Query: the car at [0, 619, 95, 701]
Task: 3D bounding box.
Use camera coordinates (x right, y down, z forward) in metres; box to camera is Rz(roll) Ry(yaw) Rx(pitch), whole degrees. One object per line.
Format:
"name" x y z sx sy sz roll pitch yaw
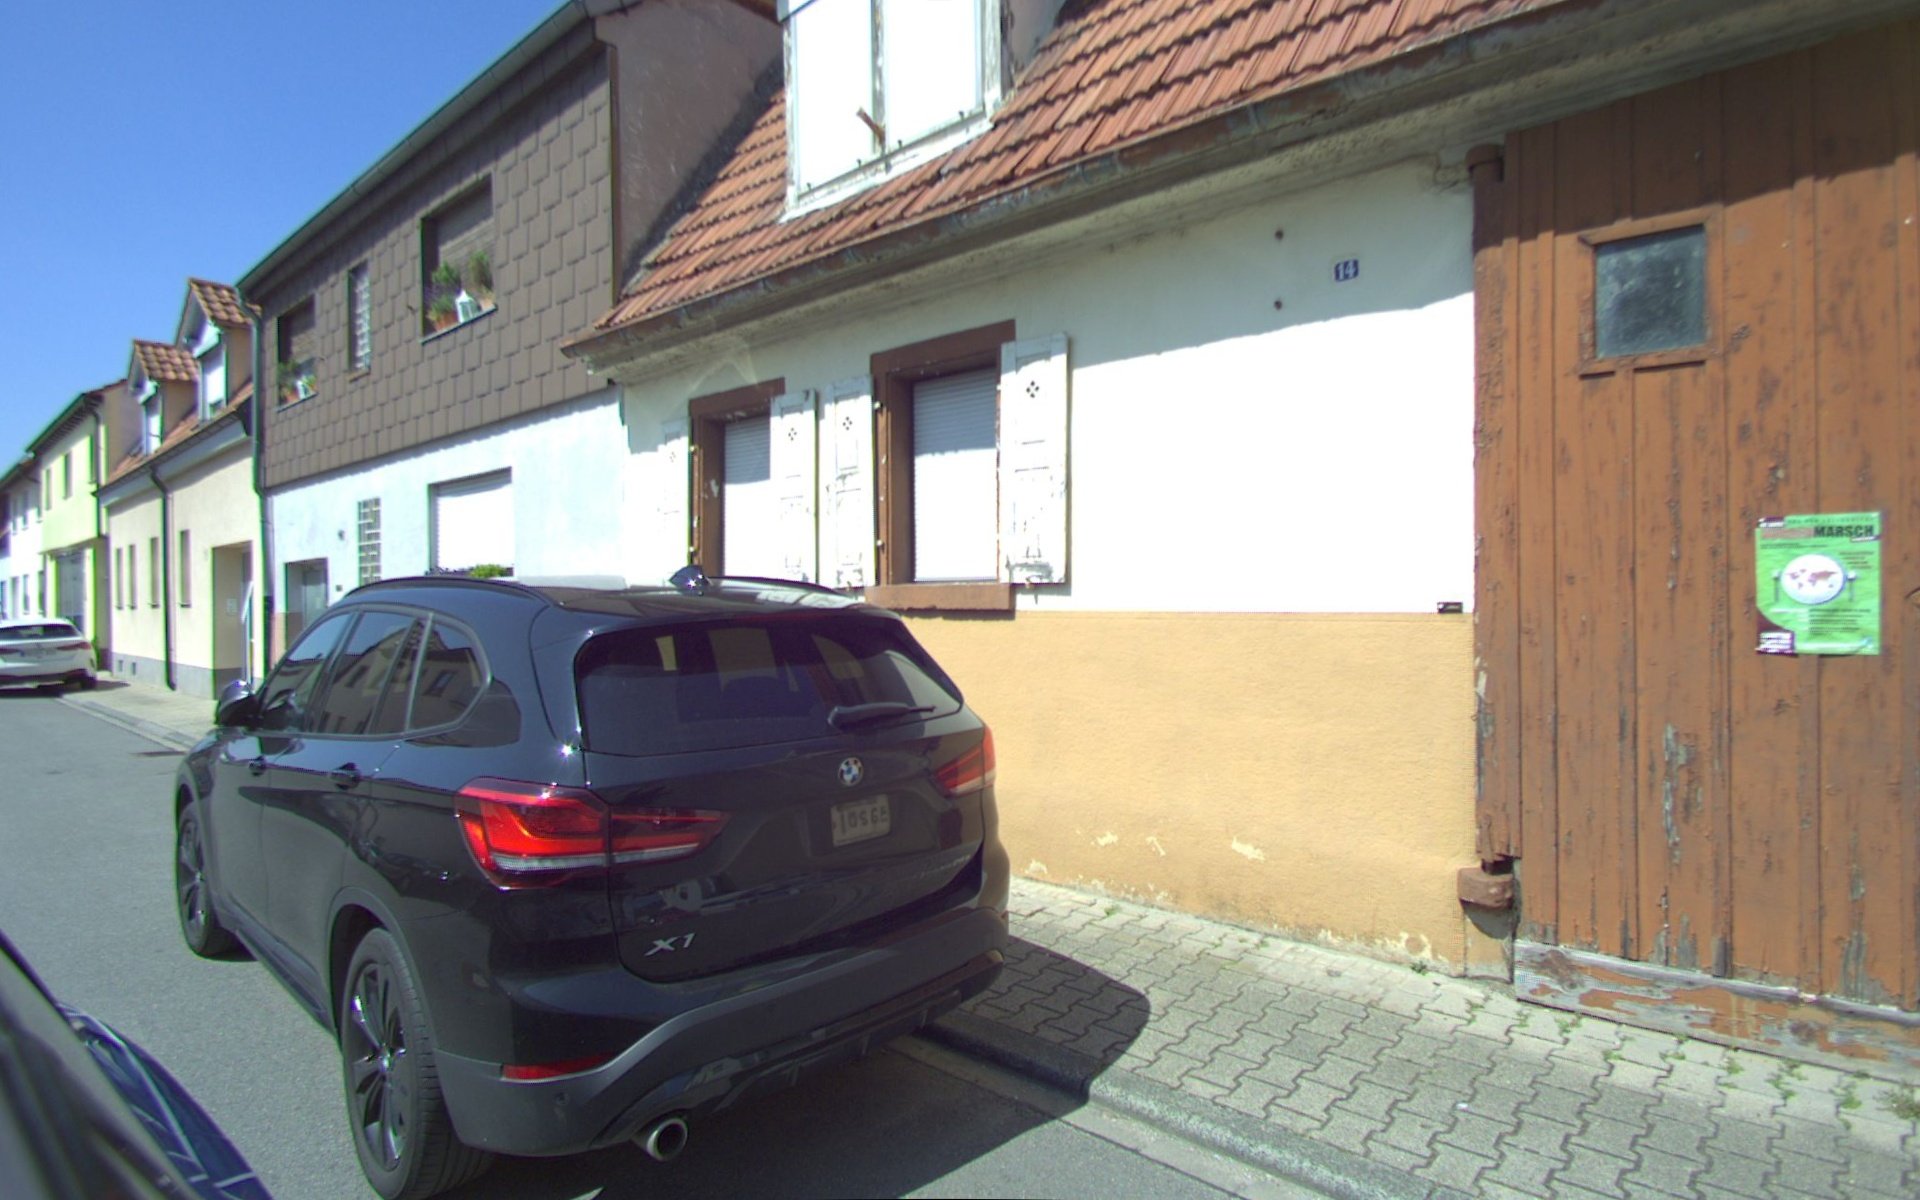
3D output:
"car" -18.809 1.128 20.312 4.216 1.465 1.763 -1 -1 43

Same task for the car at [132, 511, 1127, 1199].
"car" -1.768 0.665 3.976 4.616 1.586 1.780 -1 -1 44

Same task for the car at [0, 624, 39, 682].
"car" -25.266 1.303 25.947 4.630 1.405 1.901 -1 -3 41

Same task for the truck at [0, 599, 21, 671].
"truck" -29.344 1.004 29.775 5.080 2.029 2.158 -1 -1 43
